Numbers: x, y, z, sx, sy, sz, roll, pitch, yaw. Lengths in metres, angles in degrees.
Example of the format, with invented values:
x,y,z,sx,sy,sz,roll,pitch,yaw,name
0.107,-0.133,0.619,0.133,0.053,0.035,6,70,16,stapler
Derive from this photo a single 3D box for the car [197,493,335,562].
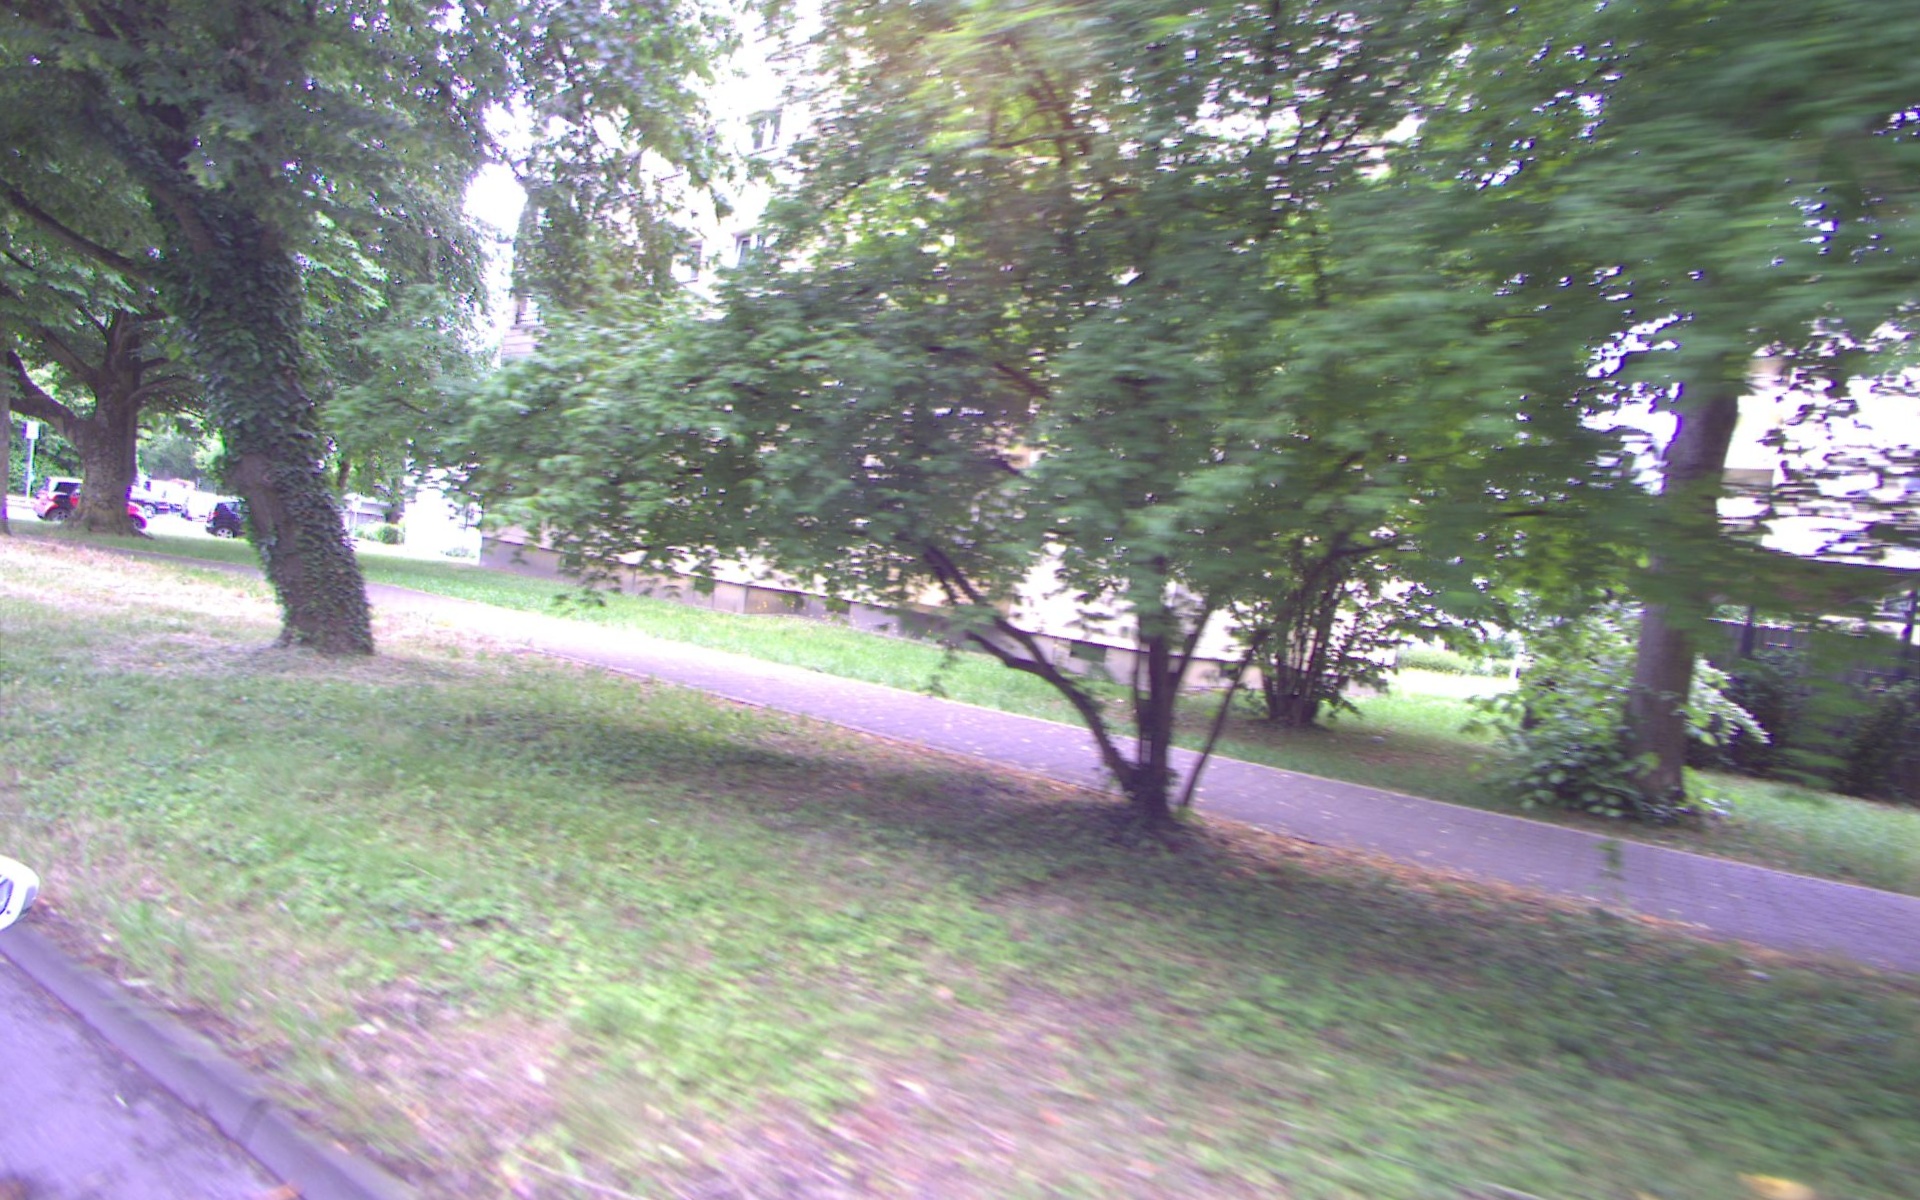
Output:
x,y,z,sx,sy,sz,roll,pitch,yaw,name
-25.752,-2.665,37.396,3.970,1.747,1.780,10,2,-38,car

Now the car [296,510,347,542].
x,y,z,sx,sy,sz,roll,pitch,yaw,name
-38.888,-4.514,61.233,2.073,1.529,3.956,6,1,-39,car

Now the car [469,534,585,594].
x,y,z,sx,sy,sz,roll,pitch,yaw,name
-17.652,-1.472,41.167,3.939,1.764,1.793,9,1,-15,car

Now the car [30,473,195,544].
x,y,z,sx,sy,sz,roll,pitch,yaw,name
-28.913,-3.091,34.417,1.773,1.576,3.985,12,2,40,car

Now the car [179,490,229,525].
x,y,z,sx,sy,sz,roll,pitch,yaw,name
-40.312,-4.927,53.684,1.782,1.529,3.963,6,1,-34,car
